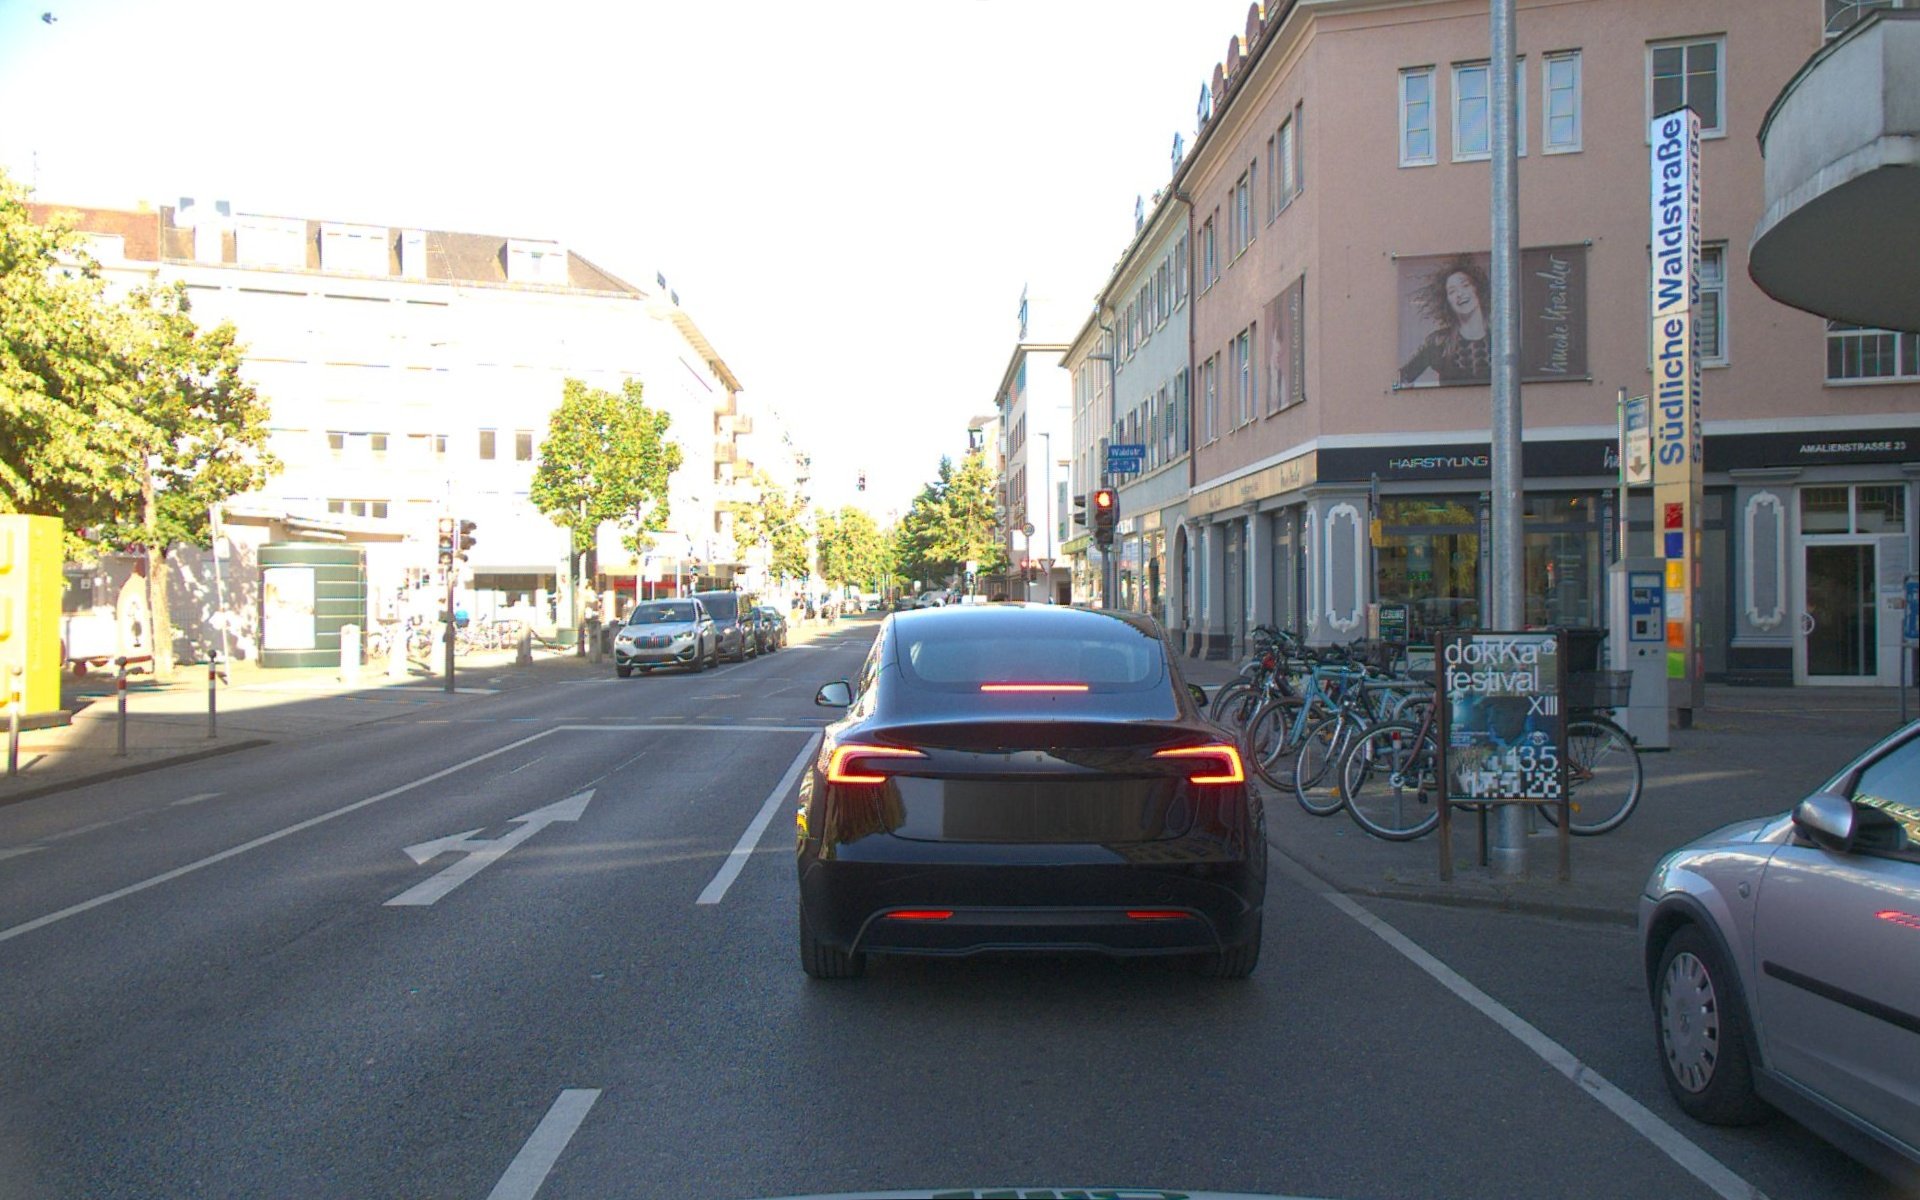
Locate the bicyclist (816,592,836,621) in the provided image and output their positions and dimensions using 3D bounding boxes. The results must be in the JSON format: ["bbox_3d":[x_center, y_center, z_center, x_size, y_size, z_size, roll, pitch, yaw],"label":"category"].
[{"bbox_3d":[-7.726,0.371,95.450,1.104,1.657,0.964,0,0,-4],"label":"bicyclist"}]

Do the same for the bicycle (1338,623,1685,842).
[{"bbox_3d":[3.286,0.784,9.985,1.846,1.214,0.692,-2,1,5],"label":"bicycle"}]

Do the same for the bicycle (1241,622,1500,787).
[{"bbox_3d":[3.057,0.771,12.465,1.760,1.144,0.782,-2,0,5],"label":"bicycle"}]

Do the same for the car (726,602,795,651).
[{"bbox_3d":[-6.810,0.874,56.866,1.954,1.461,4.671,-4,0,-3],"label":"car"}]

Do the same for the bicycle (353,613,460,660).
[{"bbox_3d":[-14.199,0.929,42.466,2.455,1.176,0.842,0,0,-2],"label":"bicycle"}]

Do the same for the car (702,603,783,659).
[{"bbox_3d":[-6.427,0.887,49.280,1.954,1.434,4.671,-4,0,-3],"label":"car"}]

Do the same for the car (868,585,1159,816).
[{"bbox_3d":[0.288,0.669,13.163,1.953,1.538,4.173,0,0,-2],"label":"car"}]

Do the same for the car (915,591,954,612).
[{"bbox_3d":[-2.591,0.151,167.473,3.907,2.049,1.999,0,0,-2],"label":"car"}]

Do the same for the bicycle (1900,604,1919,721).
[{"bbox_3d":[10.272,0.653,16.978,0.645,1.220,2.212,0,0,18],"label":"bicycle"}]

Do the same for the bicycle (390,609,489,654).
[{"bbox_3d":[-14.108,0.848,44.843,2.412,1.176,0.842,0,0,-2],"label":"bicycle"}]

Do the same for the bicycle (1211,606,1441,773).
[{"bbox_3d":[2.988,0.721,13.643,1.709,1.289,0.781,-2,0,2],"label":"bicycle"}]

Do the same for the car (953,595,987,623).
[{"bbox_3d":[0.579,0.525,100.653,1.953,1.657,3.999,0,0,-1],"label":"car"}]

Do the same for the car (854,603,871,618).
[{"bbox_3d":[-11.008,1.206,186.848,1.954,1.666,3.997,0,0,-4],"label":"car"}]

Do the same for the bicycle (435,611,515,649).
[{"bbox_3d":[-15.219,0.947,51.943,2.279,1.176,0.841,0,0,-6],"label":"bicycle"}]

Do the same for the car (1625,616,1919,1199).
[{"bbox_3d":[2.932,0.779,3.475,1.580,1.406,3.642,1,0,0],"label":"car"}]

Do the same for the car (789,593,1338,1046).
[{"bbox_3d":[0.315,0.725,7.454,1.810,1.480,3.999,0,0,-1],"label":"car"}]

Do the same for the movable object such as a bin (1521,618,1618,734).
[{"bbox_3d":[6.044,0.746,16.423,0.737,1.111,0.627,1,0,1],"label":"movable object such as a bin"}]

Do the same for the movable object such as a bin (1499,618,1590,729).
[{"bbox_3d":[6.023,0.749,17.060,0.718,1.111,0.627,1,0,1],"label":"movable object such as a bin"}]

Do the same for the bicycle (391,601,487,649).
[{"bbox_3d":[-14.716,0.703,46.766,2.429,1.347,0.921,0,0,-6],"label":"bicycle"}]

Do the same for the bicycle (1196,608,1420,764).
[{"bbox_3d":[3.052,0.748,14.674,1.822,1.280,0.833,-2,0,5],"label":"bicycle"}]

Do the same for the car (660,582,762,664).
[{"bbox_3d":[-6.321,0.537,42.459,1.797,1.877,4.674,-4,0,0],"label":"car"}]

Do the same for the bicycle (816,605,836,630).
[{"bbox_3d":[-7.709,0.998,95.357,1.089,1.368,3.997,0,0,-4],"label":"bicycle"}]

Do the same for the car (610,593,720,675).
[{"bbox_3d":[-6.383,0.691,36.186,1.771,1.582,4.307,-4,0,-3],"label":"car"}]

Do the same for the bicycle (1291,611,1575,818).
[{"bbox_3d":[3.140,0.749,11.115,1.686,1.290,0.791,-2,0,5],"label":"bicycle"}]

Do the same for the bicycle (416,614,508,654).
[{"bbox_3d":[-14.895,1.021,49.520,2.485,1.176,0.841,0,0,-6],"label":"bicycle"}]

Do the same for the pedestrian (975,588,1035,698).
[{"bbox_3d":[0.644,0.614,24.001,0.734,1.579,0.697,0,0,-12],"label":"pedestrian"}]
